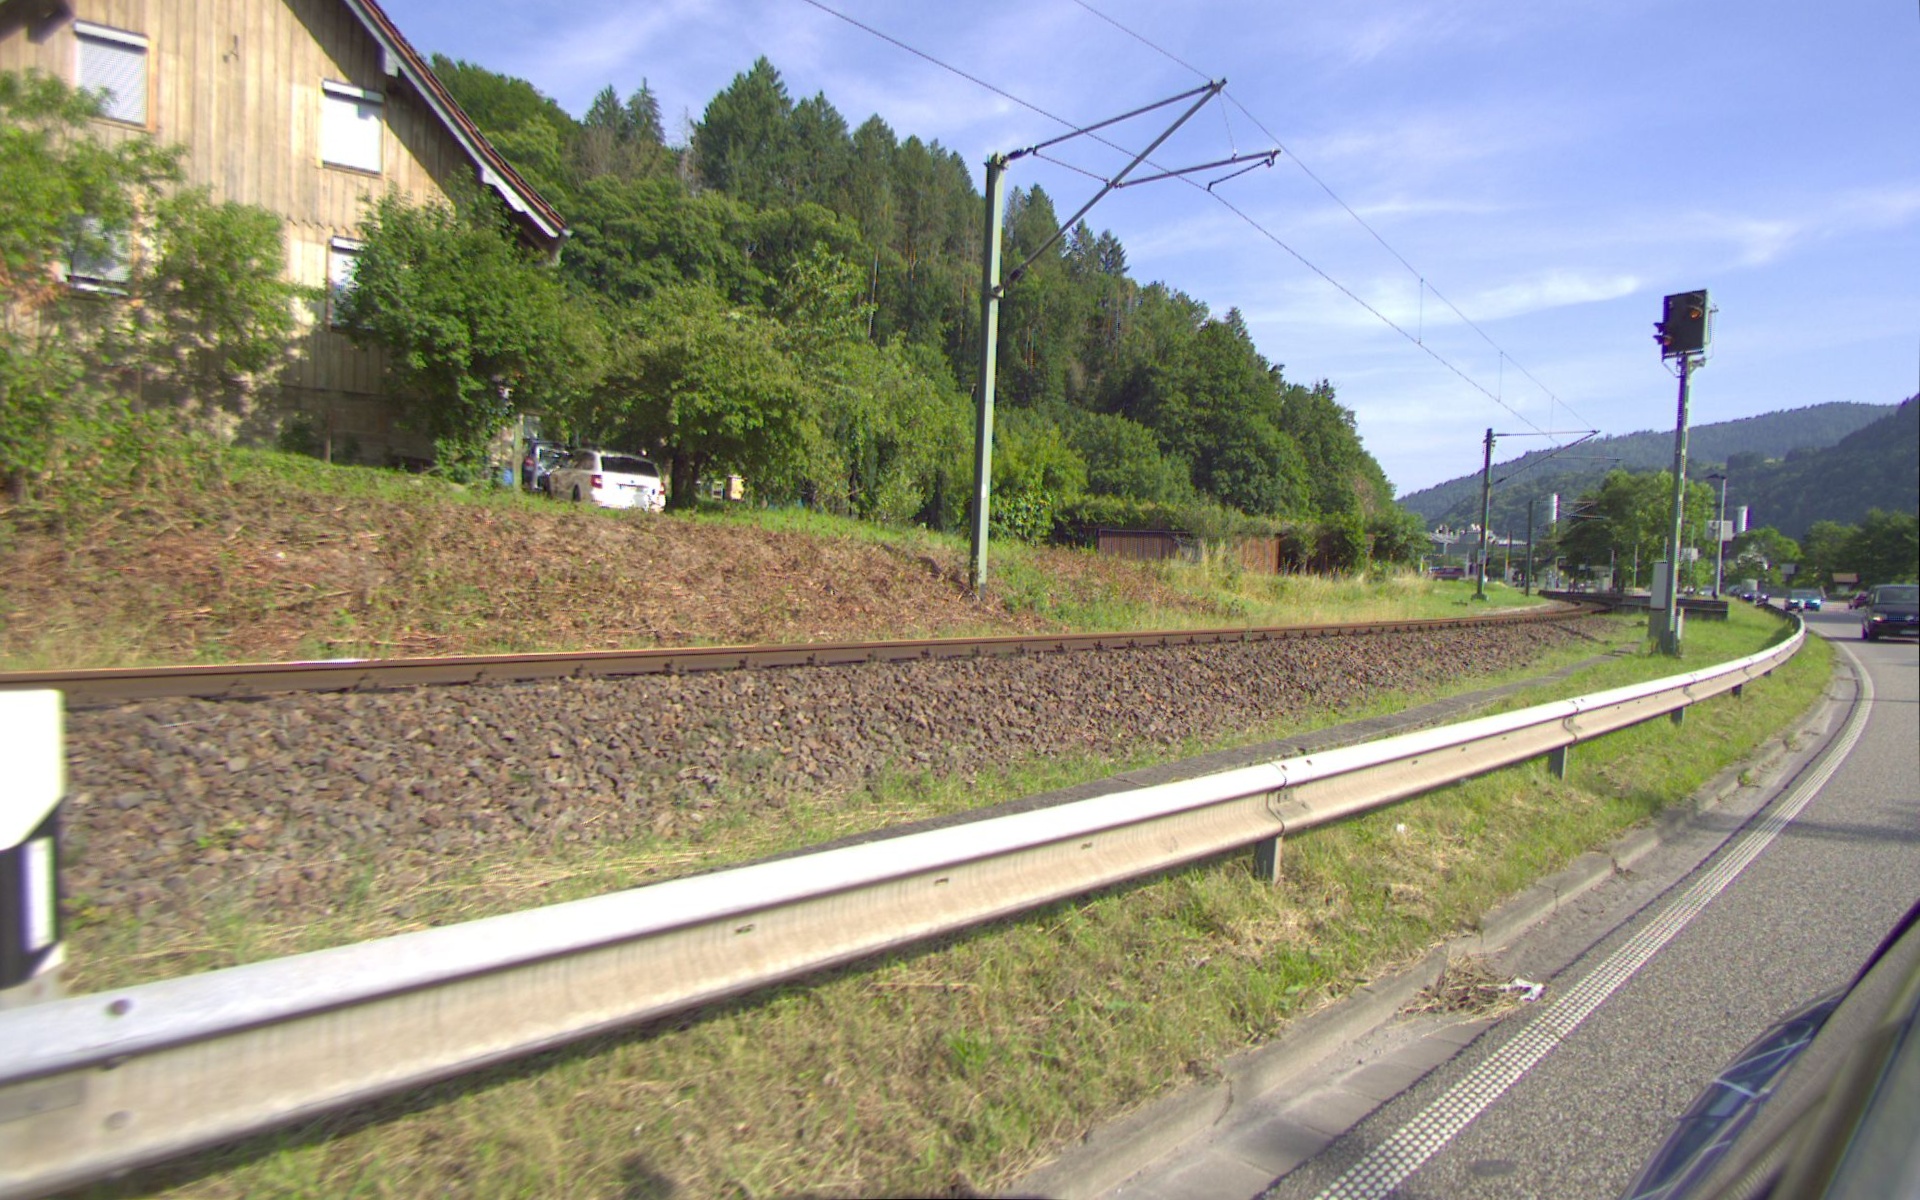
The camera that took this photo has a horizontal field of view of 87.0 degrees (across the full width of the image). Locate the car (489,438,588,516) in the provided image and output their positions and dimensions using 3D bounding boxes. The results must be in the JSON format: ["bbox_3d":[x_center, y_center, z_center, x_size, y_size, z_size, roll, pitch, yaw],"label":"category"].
[{"bbox_3d":[-11.420,-3.222,27.245,1.742,1.603,4.474,-1,1,-32],"label":"car"}]

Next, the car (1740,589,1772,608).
[{"bbox_3d":[77.975,-0.155,99.188,1.871,1.767,4.133,1,1,31],"label":"car"}]

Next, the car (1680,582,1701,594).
[{"bbox_3d":[108.579,-1.759,150.440,1.868,1.767,4.140,1,1,27],"label":"car"}]

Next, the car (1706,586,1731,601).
[{"bbox_3d":[87.849,-0.764,117.276,1.871,1.767,4.134,1,1,30],"label":"car"}]

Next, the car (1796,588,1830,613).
[{"bbox_3d":[63.484,0.017,75.329,1.878,1.767,4.118,1,1,40],"label":"car"}]

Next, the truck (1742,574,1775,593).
[{"bbox_3d":[99.701,-2.082,126.374,1.863,2.314,4.687,1,1,21],"label":"truck"}]

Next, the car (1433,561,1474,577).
[{"bbox_3d":[66.389,-4.213,136.119,4.929,2.039,1.981,0,1,29],"label":"car"}]

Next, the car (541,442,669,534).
[{"bbox_3d":[-8.009,-2.393,22.572,1.742,1.603,4.474,-1,1,-32],"label":"car"}]

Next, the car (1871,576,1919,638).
[{"bbox_3d":[32.289,0.184,34.228,2.011,1.940,4.250,1,2,40],"label":"car"}]

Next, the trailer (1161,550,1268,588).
[{"bbox_3d":[11.000,-1.332,43.774,4.062,1.045,2.304,9,3,26],"label":"trailer"}]
